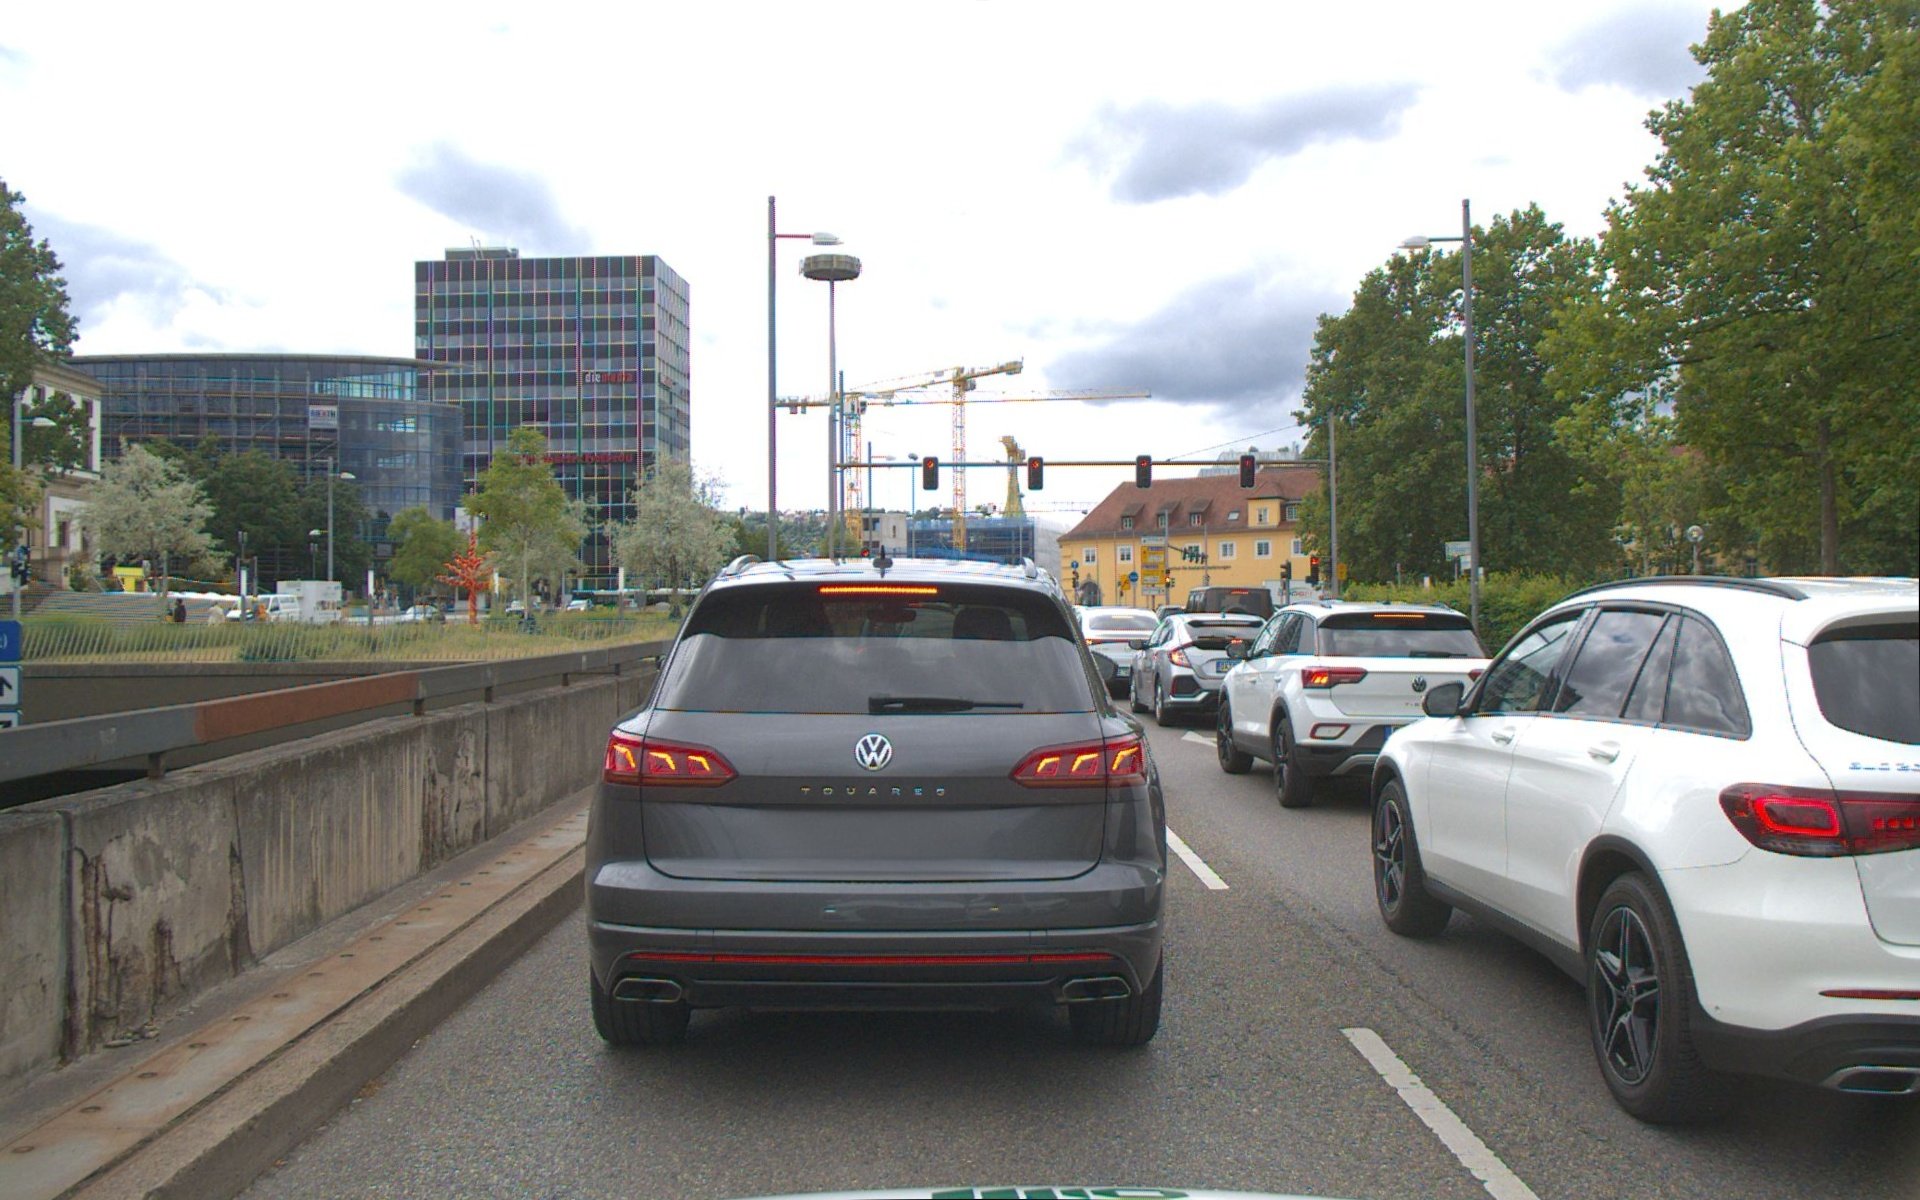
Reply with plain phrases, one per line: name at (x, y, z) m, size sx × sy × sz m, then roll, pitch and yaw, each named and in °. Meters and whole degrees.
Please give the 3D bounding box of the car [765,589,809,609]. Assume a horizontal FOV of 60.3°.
car at (-18.342, -0.103, 175.661) m, size 4.367 × 2.049 × 1.994 m, roll 1°, pitch -2°, yaw 33°

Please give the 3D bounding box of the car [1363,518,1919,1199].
car at (3.001, 0.637, 6.272) m, size 1.887 × 1.682 × 4.490 m, roll 0°, pitch 0°, yaw 0°

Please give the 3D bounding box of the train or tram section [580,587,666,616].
train or tram section at (-38.242, 0.158, 187.667) m, size 10.195 × 3.062 × 2.593 m, roll 1°, pitch -2°, yaw 28°

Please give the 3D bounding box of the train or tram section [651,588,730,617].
train or tram section at (-29.880, 0.285, 183.223) m, size 8.750 × 3.062 × 2.593 m, roll 1°, pitch -2°, yaw 28°

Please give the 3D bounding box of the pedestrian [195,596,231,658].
pedestrian at (-24.918, 0.897, 55.162) m, size 0.841 × 2.049 × 0.629 m, roll 0°, pitch 1°, yaw 15°

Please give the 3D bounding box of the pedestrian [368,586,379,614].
pedestrian at (-44.032, -0.022, 124.240) m, size 0.727 × 2.049 × 0.915 m, roll -1°, pitch 1°, yaw -20°

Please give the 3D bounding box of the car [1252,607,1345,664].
car at (9.349, 0.979, 45.915) m, size 1.722 × 1.472 × 3.632 m, roll 2°, pitch -1°, yaw -2°

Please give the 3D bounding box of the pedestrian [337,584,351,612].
pedestrian at (-46.709, -0.150, 125.501) m, size 0.723 × 2.049 × 0.793 m, roll -1°, pitch 1°, yaw 0°

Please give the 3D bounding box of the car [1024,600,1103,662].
car at (2.707, 0.817, 44.067) m, size 1.887 × 1.556 × 4.047 m, roll 1°, pitch -1°, yaw 0°

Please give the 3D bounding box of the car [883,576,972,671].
car at (-0.754, 0.531, 38.546) m, size 1.912 × 2.053 × 3.930 m, roll 2°, pitch 0°, yaw -1°

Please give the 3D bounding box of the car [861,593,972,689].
car at (-0.799, 0.723, 31.010) m, size 1.912 × 1.628 × 3.930 m, roll 2°, pitch 0°, yaw -1°

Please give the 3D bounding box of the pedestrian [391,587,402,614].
pedestrian at (-43.139, 0.061, 126.586) m, size 0.727 × 2.049 × 0.915 m, roll -1°, pitch 1°, yaw -20°

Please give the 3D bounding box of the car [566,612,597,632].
car at (-30.131, 1.753, 131.778) m, size 1.697 × 1.521 × 3.592 m, roll 2°, pitch -1°, yaw -3°

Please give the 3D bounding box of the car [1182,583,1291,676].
car at (6.483, 0.683, 39.206) m, size 1.871 × 2.049 × 4.011 m, roll 2°, pitch -1°, yaw 0°

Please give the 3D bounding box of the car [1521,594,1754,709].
car at (9.767, 0.729, 24.238) m, size 1.890 × 1.485 × 4.529 m, roll 1°, pitch -1°, yaw 5°

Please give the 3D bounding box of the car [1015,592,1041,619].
car at (4.550, 0.370, 111.512) m, size 1.586 × 1.656 × 3.999 m, roll 2°, pitch -1°, yaw 0°

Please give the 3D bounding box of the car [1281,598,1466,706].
car at (6.815, 0.794, 27.720) m, size 1.953 × 1.668 × 4.303 m, roll 0°, pitch 0°, yaw -1°

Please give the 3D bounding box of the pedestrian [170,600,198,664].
pedestrian at (-25.311, 1.025, 53.929) m, size 0.781 × 2.049 × 0.829 m, roll -1°, pitch 0°, yaw -28°

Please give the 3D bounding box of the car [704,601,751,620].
car at (-21.439, 0.961, 152.480) m, size 4.142 × 1.631 × 1.746 m, roll 1°, pitch -1°, yaw 36°

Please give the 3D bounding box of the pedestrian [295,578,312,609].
pedestrian at (-44.300, -0.456, 111.645) m, size 0.724 × 2.049 × 1.113 m, roll -1°, pitch 1°, yaw -6°

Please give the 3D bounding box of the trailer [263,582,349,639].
trailer at (-31.682, 0.463, 80.332) m, size 1.996 × 2.650 × 5.507 m, roll 2°, pitch 1°, yaw -1°

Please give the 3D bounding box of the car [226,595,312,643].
car at (-31.374, 0.836, 75.226) m, size 1.953 × 2.048 × 4.692 m, roll 0°, pitch 1°, yaw 0°

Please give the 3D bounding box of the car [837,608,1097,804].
car at (0.021, 0.810, 14.393) m, size 1.912 × 1.408 × 3.930 m, roll 2°, pitch 0°, yaw -1°

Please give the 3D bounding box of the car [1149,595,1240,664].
car at (6.303, 0.796, 44.782) m, size 1.871 × 1.727 × 4.011 m, roll 2°, pitch -1°, yaw 0°

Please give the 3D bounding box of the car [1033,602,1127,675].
car at (2.686, 0.850, 37.778) m, size 1.887 × 1.556 × 4.047 m, roll 1°, pitch -1°, yaw 0°

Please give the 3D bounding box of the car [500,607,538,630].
car at (-30.168, 1.288, 113.207) m, size 1.697 × 1.521 × 3.592 m, roll 2°, pitch -1°, yaw -3°

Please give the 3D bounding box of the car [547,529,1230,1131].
car at (-0.230, 0.652, 6.654) m, size 1.912 × 1.680 × 3.999 m, roll 0°, pitch 0°, yaw -1°

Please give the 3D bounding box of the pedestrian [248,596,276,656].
pedestrian at (-24.833, 0.915, 58.872) m, size 0.716 × 2.047 × 0.628 m, roll -1°, pitch 4°, yaw -8°

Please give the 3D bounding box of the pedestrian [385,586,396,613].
pedestrian at (-44.054, -0.048, 127.879) m, size 0.726 × 2.049 × 0.789 m, roll -1°, pitch 1°, yaw -16°

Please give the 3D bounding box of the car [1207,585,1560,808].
car at (3.366, 0.717, 14.080) m, size 1.887 × 1.578 × 4.489 m, roll 1°, pitch -1°, yaw 0°

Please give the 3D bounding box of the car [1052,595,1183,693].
car at (2.671, 0.736, 28.959) m, size 1.887 × 1.556 × 4.489 m, roll 1°, pitch -1°, yaw 0°

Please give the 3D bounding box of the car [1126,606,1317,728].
car at (3.387, 0.837, 22.244) m, size 1.887 × 1.457 × 4.489 m, roll 1°, pitch -1°, yaw 0°

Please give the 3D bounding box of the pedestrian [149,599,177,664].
pedestrian at (-25.704, 1.000, 53.363) m, size 0.781 × 2.049 × 0.830 m, roll -1°, pitch 0°, yaw -26°
